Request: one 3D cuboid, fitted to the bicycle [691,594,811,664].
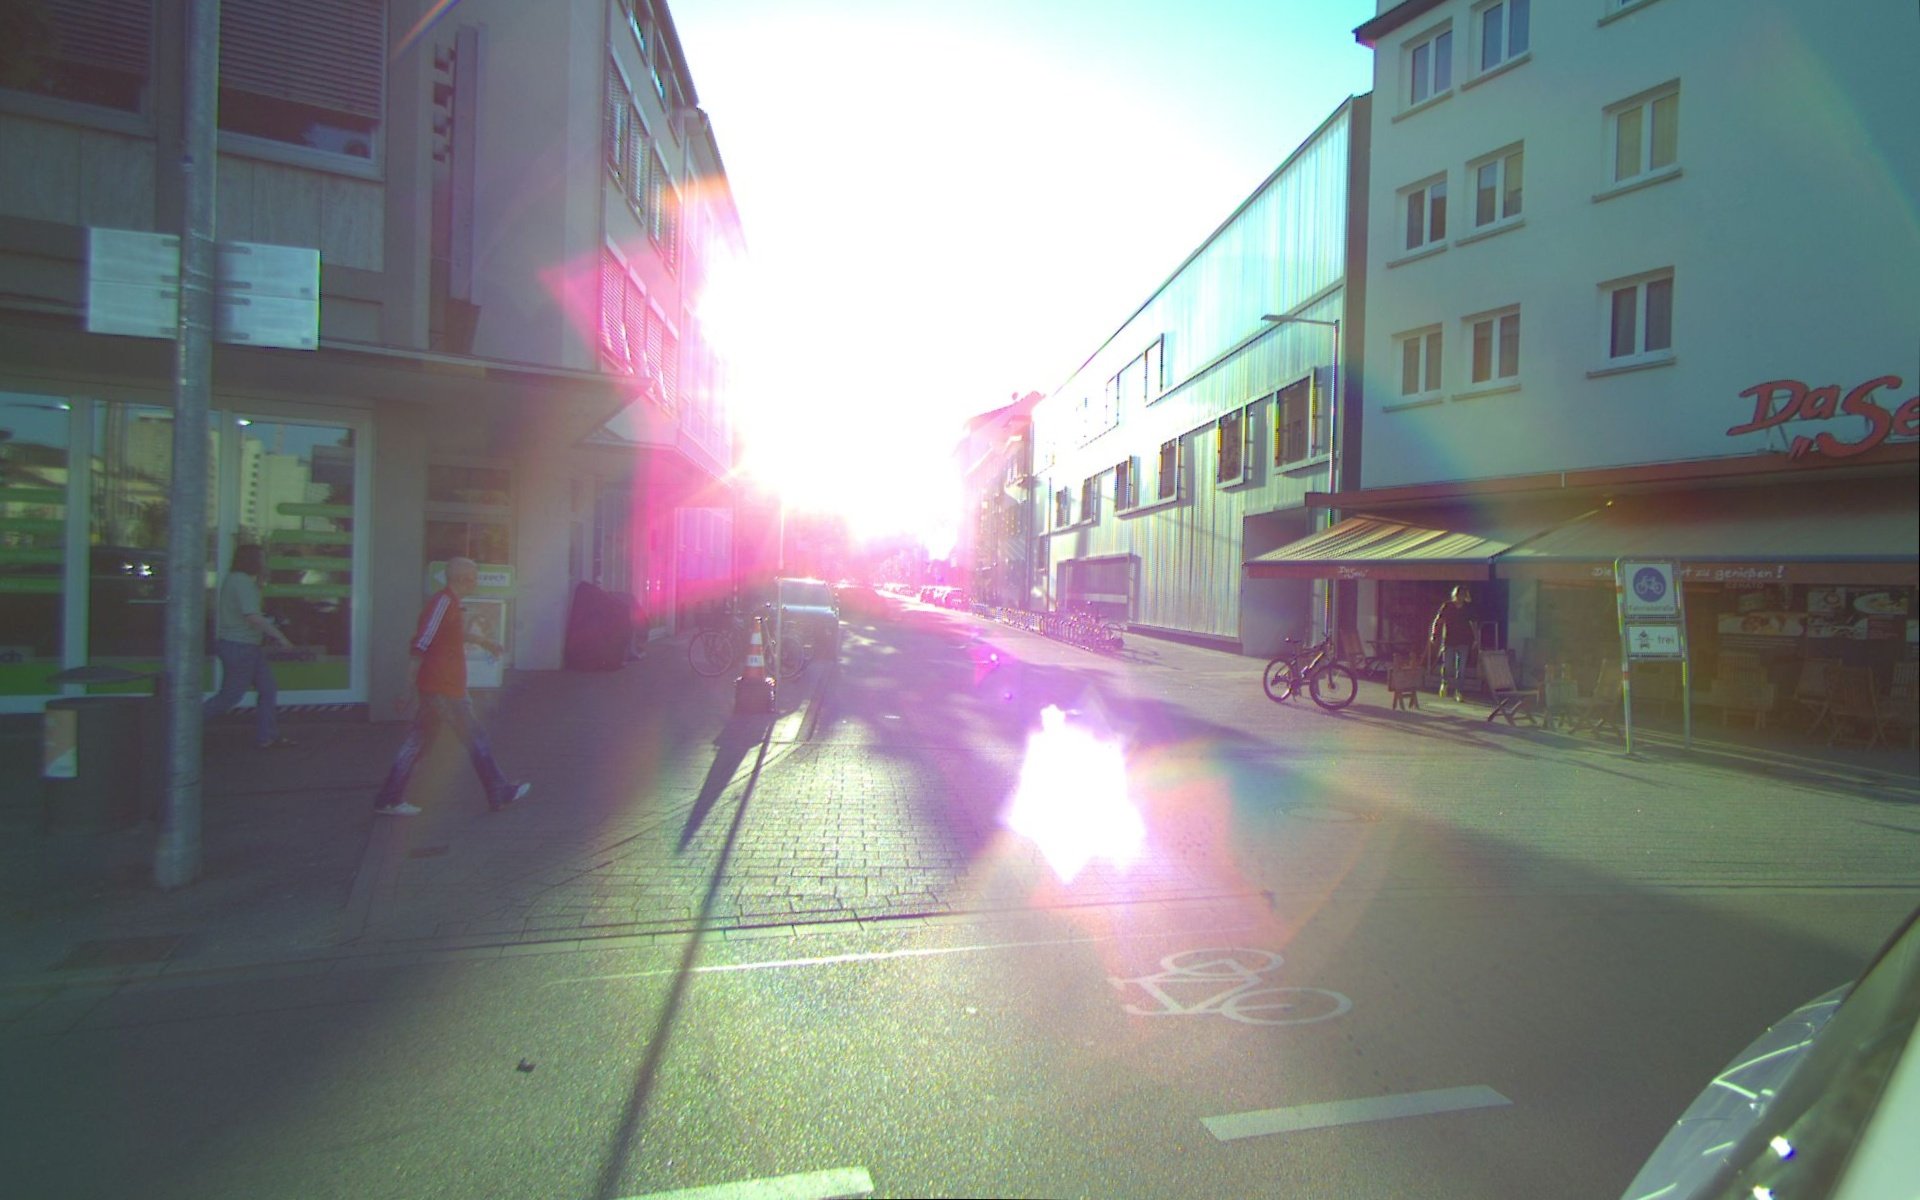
[{"bbox_3d":[-3.442,0.472,16.724,1.880,1.127,0.629,1,-1,-11],"label":"bicycle"}]

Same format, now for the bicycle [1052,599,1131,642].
[{"bbox_3d":[3.989,0.613,30.695,2.295,1.247,0.607,0,1,-11],"label":"bicycle"}]

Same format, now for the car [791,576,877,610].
[{"bbox_3d":[-6.557,-0.340,52.643,3.922,1.638,2.001,1,1,-33],"label":"car"}]

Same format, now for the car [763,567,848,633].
[{"bbox_3d":[-4.502,-0.015,30.064,1.961,1.641,4.266,5,0,-3],"label":"car"}]

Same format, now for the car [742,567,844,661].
[{"bbox_3d":[-3.598,0.271,22.459,1.881,1.773,4.444,4,0,-6],"label":"car"}]

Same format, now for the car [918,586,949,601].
[{"bbox_3d":[-2.425,-0.596,91.889,2.634,1.262,1.451,1,-1,-6],"label":"car"}]

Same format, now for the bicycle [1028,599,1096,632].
[{"bbox_3d":[3.608,0.560,35.813,2.295,1.155,0.529,1,-1,-11],"label":"bicycle"}]

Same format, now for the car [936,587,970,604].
[{"bbox_3d":[-0.534,-0.330,78.548,2.534,1.317,1.299,1,-1,-5],"label":"car"}]

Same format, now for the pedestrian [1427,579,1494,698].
[{"bbox_3d":[8.000,0.593,16.167,0.749,1.849,0.715,0,0,-41],"label":"pedestrian"}]

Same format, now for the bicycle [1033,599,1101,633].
[{"bbox_3d":[3.712,0.567,35.238,2.295,1.159,0.529,1,-1,-11],"label":"bicycle"}]

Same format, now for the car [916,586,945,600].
[{"bbox_3d":[-2.859,-0.632,96.702,2.634,1.262,1.405,1,-1,-6],"label":"car"}]

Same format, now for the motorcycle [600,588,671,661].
[{"bbox_3d":[-5.673,0.385,17.802,0.724,1.172,2.278,2,1,-6],"label":"motorcycle"}]

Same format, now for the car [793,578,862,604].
[{"bbox_3d":[-8.486,-0.564,64.898,3.922,1.527,2.001,1,1,-33],"label":"car"}]

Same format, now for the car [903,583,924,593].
[{"bbox_3d":[-5.949,-1.515,130.409,2.634,1.295,1.267,1,-1,-6],"label":"car"}]

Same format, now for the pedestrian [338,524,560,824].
[{"bbox_3d":[-3.238,0.427,6.431,0.824,1.706,1.031,0,-1,45],"label":"pedestrian"}]

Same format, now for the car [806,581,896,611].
[{"bbox_3d":[-5.367,-0.184,50.076,4.084,1.362,1.996,1,1,-44],"label":"car"}]

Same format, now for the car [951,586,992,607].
[{"bbox_3d":[0.780,-0.211,68.400,2.635,1.377,1.450,1,-1,-3],"label":"car"}]

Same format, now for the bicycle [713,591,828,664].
[{"bbox_3d":[-3.329,0.483,17.789,1.880,1.127,0.629,4,-2,-11],"label":"bicycle"}]

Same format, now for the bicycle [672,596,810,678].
[{"bbox_3d":[-3.334,0.561,15.475,1.965,1.127,0.586,4,0,-11],"label":"bicycle"}]

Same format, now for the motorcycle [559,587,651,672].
[{"bbox_3d":[-5.367,0.398,15.452,0.794,1.183,2.298,1,1,-6],"label":"motorcycle"}]

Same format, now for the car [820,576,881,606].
[{"bbox_3d":[-7.776,-0.612,71.933,3.922,2.039,1.846,1,-1,-33],"label":"car"}]

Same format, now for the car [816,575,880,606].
[{"bbox_3d":[-7.585,-0.611,68.750,3.922,2.002,1.867,1,-1,-33],"label":"car"}]

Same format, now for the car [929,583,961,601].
[{"bbox_3d":[-1.235,-0.655,84.611,2.637,1.448,1.328,1,-1,0],"label":"car"}]

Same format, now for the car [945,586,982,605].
[{"bbox_3d":[0.245,-0.321,73.426,2.635,1.262,1.450,1,-1,-3],"label":"car"}]

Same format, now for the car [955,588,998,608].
[{"bbox_3d":[1.043,-0.100,64.937,2.635,1.262,1.450,1,-1,-3],"label":"car"}]

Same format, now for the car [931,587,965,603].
[{"bbox_3d":[-0.964,-0.393,81.693,2.636,1.262,1.350,1,-1,-3],"label":"car"}]

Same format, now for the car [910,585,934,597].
[{"bbox_3d":[-4.512,-1.094,119.947,2.634,1.262,1.451,2,1,-6],"label":"car"}]

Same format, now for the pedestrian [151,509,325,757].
[{"bbox_3d":[-5.663,0.243,7.953,0.746,1.801,0.958,-1,-1,42],"label":"pedestrian"}]

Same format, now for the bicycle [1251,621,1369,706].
[{"bbox_3d":[5.370,0.937,15.649,0.525,1.174,1.914,1,0,-26],"label":"bicycle"}]
